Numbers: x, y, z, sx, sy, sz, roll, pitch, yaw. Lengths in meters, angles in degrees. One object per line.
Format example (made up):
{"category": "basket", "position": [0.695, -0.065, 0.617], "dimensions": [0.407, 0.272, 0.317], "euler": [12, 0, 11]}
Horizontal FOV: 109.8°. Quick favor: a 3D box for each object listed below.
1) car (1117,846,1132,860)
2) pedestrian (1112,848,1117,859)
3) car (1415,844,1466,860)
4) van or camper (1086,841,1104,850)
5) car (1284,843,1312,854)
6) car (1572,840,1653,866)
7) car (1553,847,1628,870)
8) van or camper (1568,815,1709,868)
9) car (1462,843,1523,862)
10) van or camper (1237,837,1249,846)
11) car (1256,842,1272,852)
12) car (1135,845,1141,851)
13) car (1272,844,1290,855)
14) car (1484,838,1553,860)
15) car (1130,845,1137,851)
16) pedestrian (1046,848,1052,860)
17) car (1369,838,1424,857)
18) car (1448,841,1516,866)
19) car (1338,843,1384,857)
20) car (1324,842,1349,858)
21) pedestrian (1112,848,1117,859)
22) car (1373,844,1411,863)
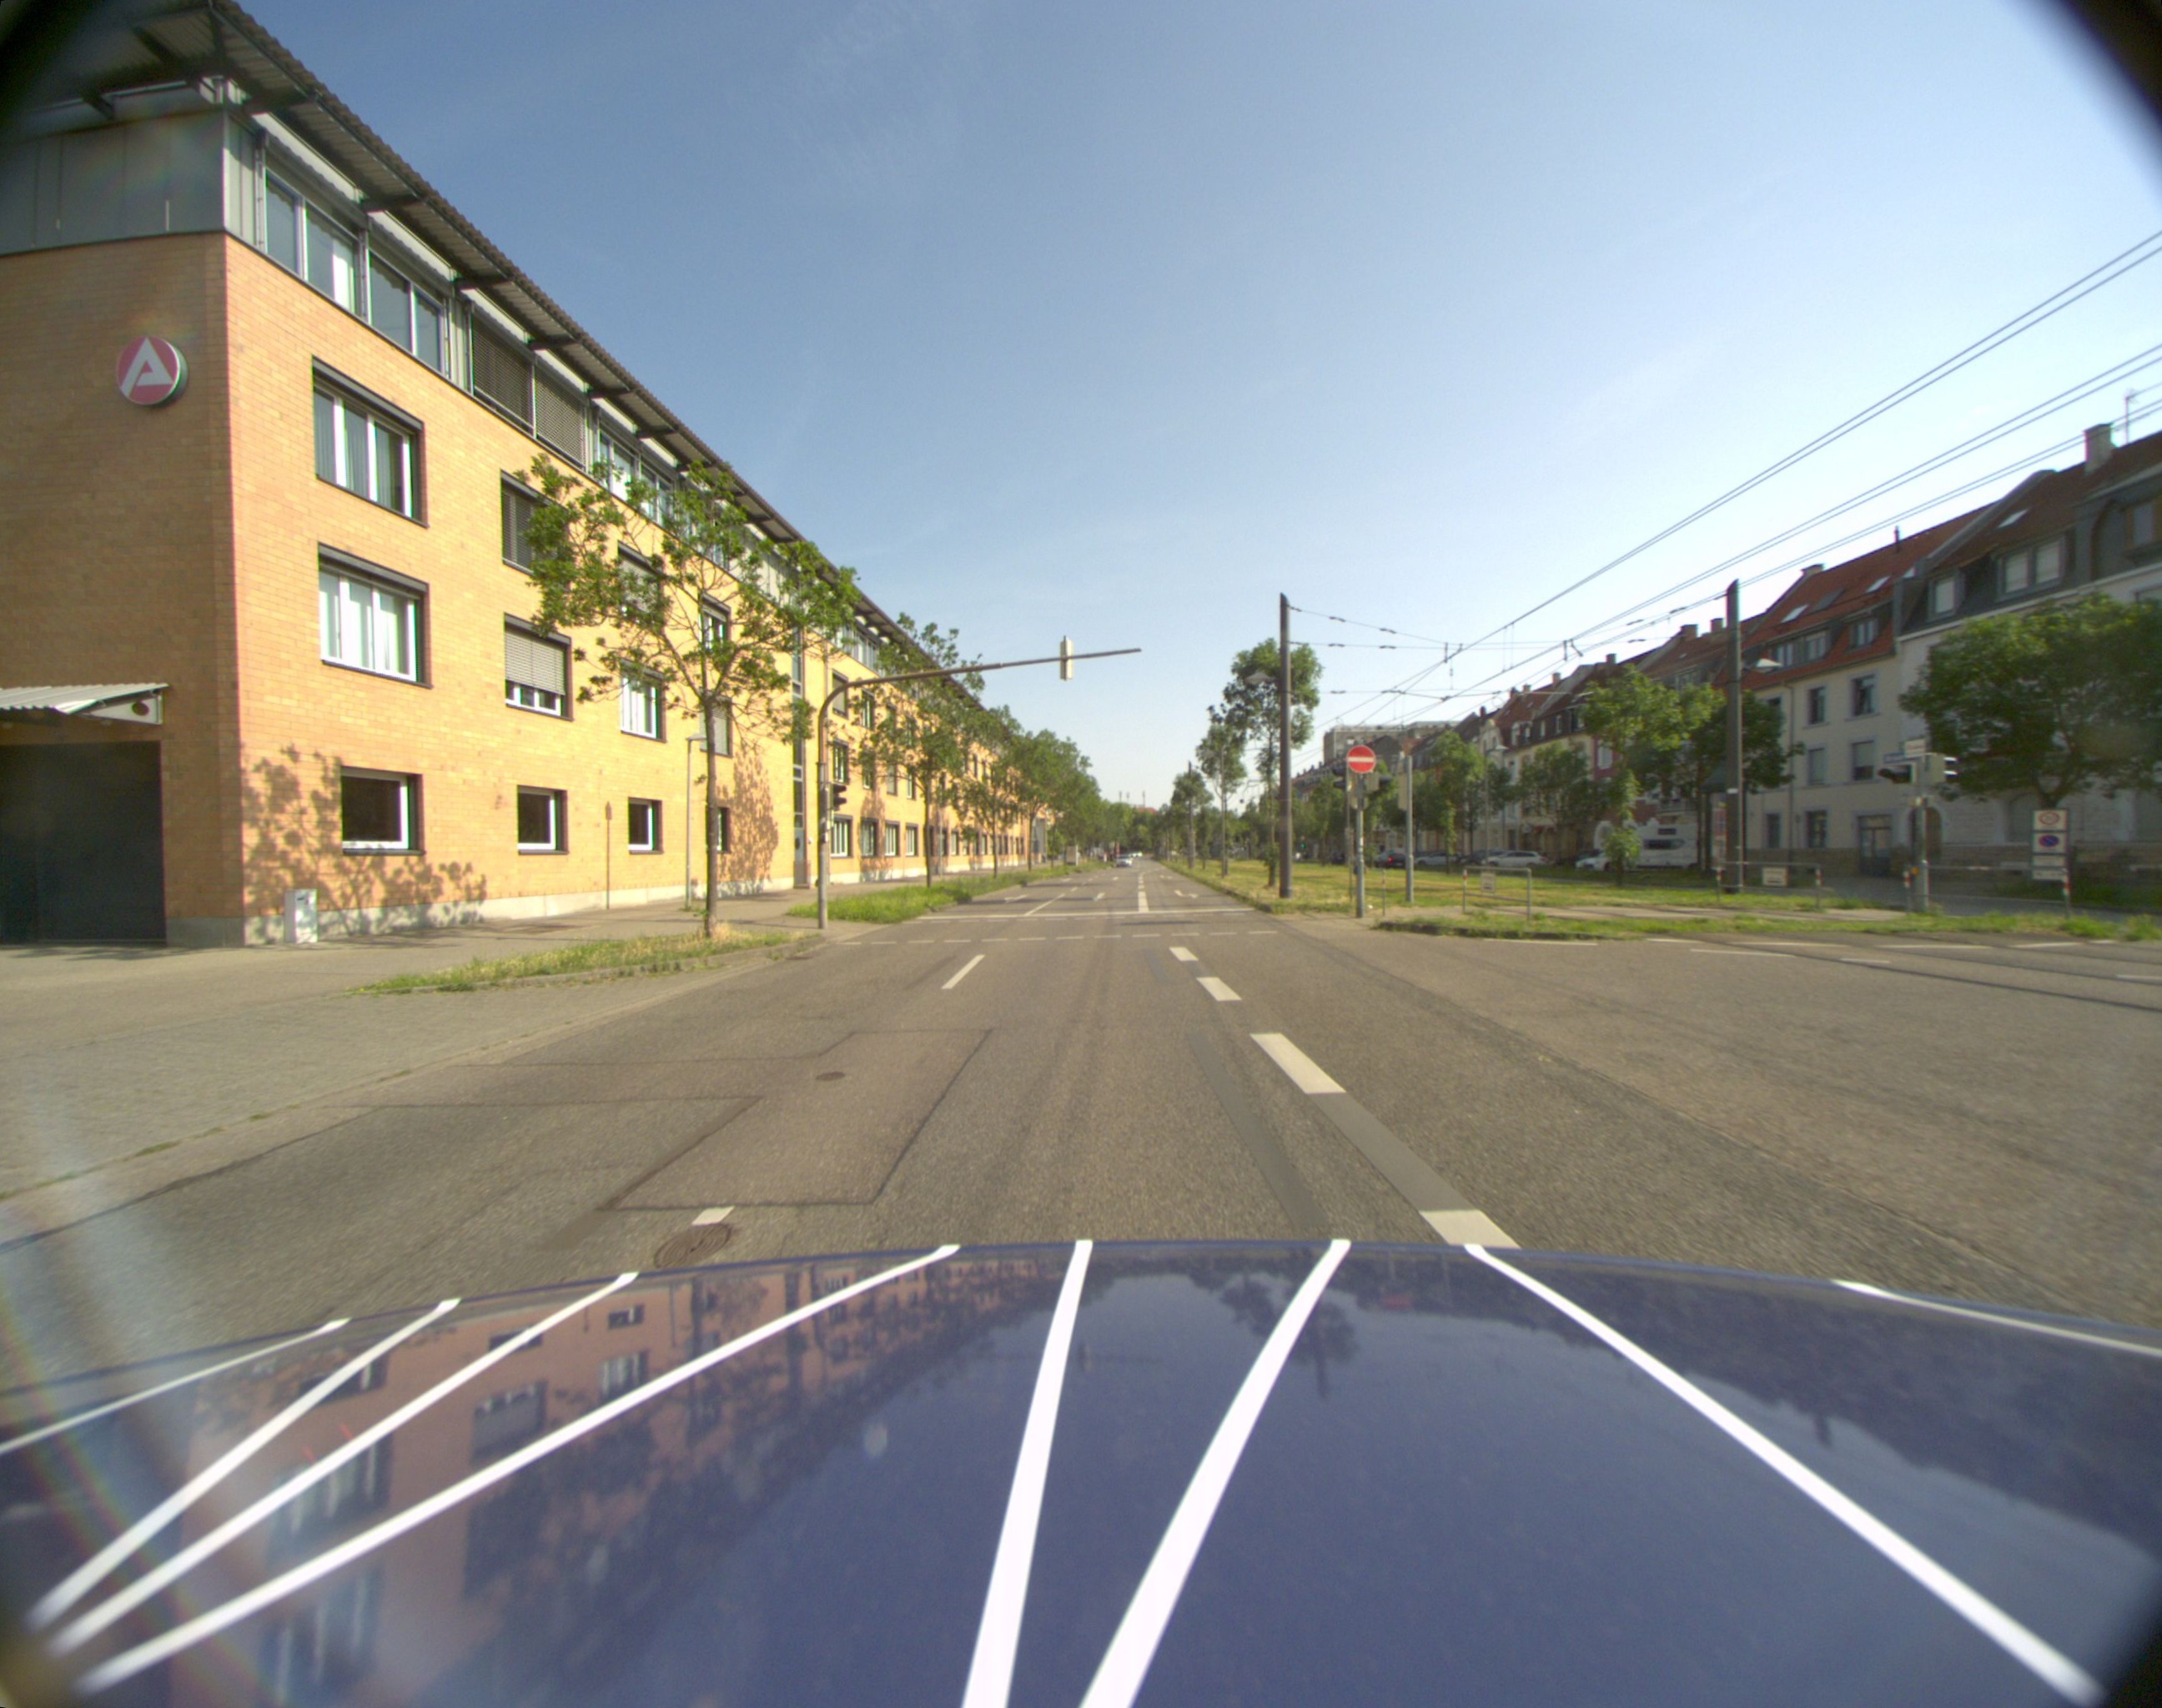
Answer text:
{"category": "car", "position": [4.956, -0.179, 87.265], "dimensions": [1.628, 1.476, 3.366], "euler": [-3, 1, 3]}
{"category": "pedestrian", "position": [4.844, -0.101, 111.475], "dimensions": [0.707, 1.637, 0.689], "euler": [1, 2, 2]}
{"category": "car", "position": [31.622, -0.182, 66.839], "dimensions": [3.677, 1.234, 1.665], "euler": [-2, 1, 39]}
{"category": "van or camper", "position": [4.497, -2.736, 241.436], "dimensions": [5.799, 2.678, 2.408], "euler": [-2, 1, 1]}
{"category": "car", "position": [37.019, -0.911, 129.785], "dimensions": [3.989, 1.716, 2.004], "euler": [-2, 1, 39]}
{"category": "car", "position": [30.686, -0.047, 43.890], "dimensions": [3.677, 1.324, 1.665], "euler": [-2, 1, 39]}
{"category": "car", "position": [31.124, 0.268, 46.431], "dimensions": [3.677, 1.234, 1.665], "euler": [-2, 1, 39]}
{"category": "van or camper", "position": [29.791, -0.628, 40.765], "dimensions": [5.910, 2.559, 2.203], "euler": [-2, 1, 39]}
{"category": "car", "position": [30.724, -0.078, 56.759], "dimensions": [3.677, 1.234, 1.665], "euler": [-2, 1, 39]}
{"category": "van or camper", "position": [38.472, -3.016, 180.963], "dimensions": [1.956, 2.085, 5.353], "euler": [-3, 1, 4]}
{"category": "car", "position": [32.037, -1.309, 133.081], "dimensions": [1.998, 1.621, 5.381], "euler": [-3, 1, 6]}
{"category": "car", "position": [15.693, -1.646, 209.467], "dimensions": [1.692, 1.476, 3.366], "euler": [-3, 1, 3]}
{"category": "car", "position": [30.693, -0.736, 116.689], "dimensions": [1.951, 1.451, 4.650], "euler": [-3, 1, 7]}
{"category": "car", "position": [30.875, -0.338, 53.655], "dimensions": [4.004, 1.309, 1.665], "euler": [-2, 1, 39]}
{"category": "car", "position": [13.390, -1.460, 193.714], "dimensions": [1.692, 1.476, 3.366], "euler": [-3, 1, 3]}
{"category": "pedestrian", "position": [-4.383, 0.022, 103.699], "dimensions": [0.697, 1.647, 0.773], "euler": [0, 2, 5]}
{"category": "car", "position": [33.194, -0.681, 79.910], "dimensions": [4.938, 1.716, 1.860], "euler": [-2, 1, 39]}
{"category": "car", "position": [31.560, -0.052, 59.878], "dimensions": [4.636, 1.733, 1.837], "euler": [-2, 1, 29]}
{"category": "car", "position": [34.135, -0.433, 92.697], "dimensions": [4.765, 1.477, 2.026], "euler": [-2, 1, 36]}
{"category": "car", "position": [27.829, -0.466, 82.775], "dimensions": [1.768, 1.646, 4.001], "euler": [-3, 1, 7]}
{"category": "pedestrian", "position": [4.998, -0.048, 112.606], "dimensions": [0.636, 1.637, 0.609], "euler": [1, 2, 1]}
{"category": "car", "position": [26.326, -0.085, 64.425], "dimensions": [1.816, 1.425, 3.926], "euler": [-3, 1, 4]}
